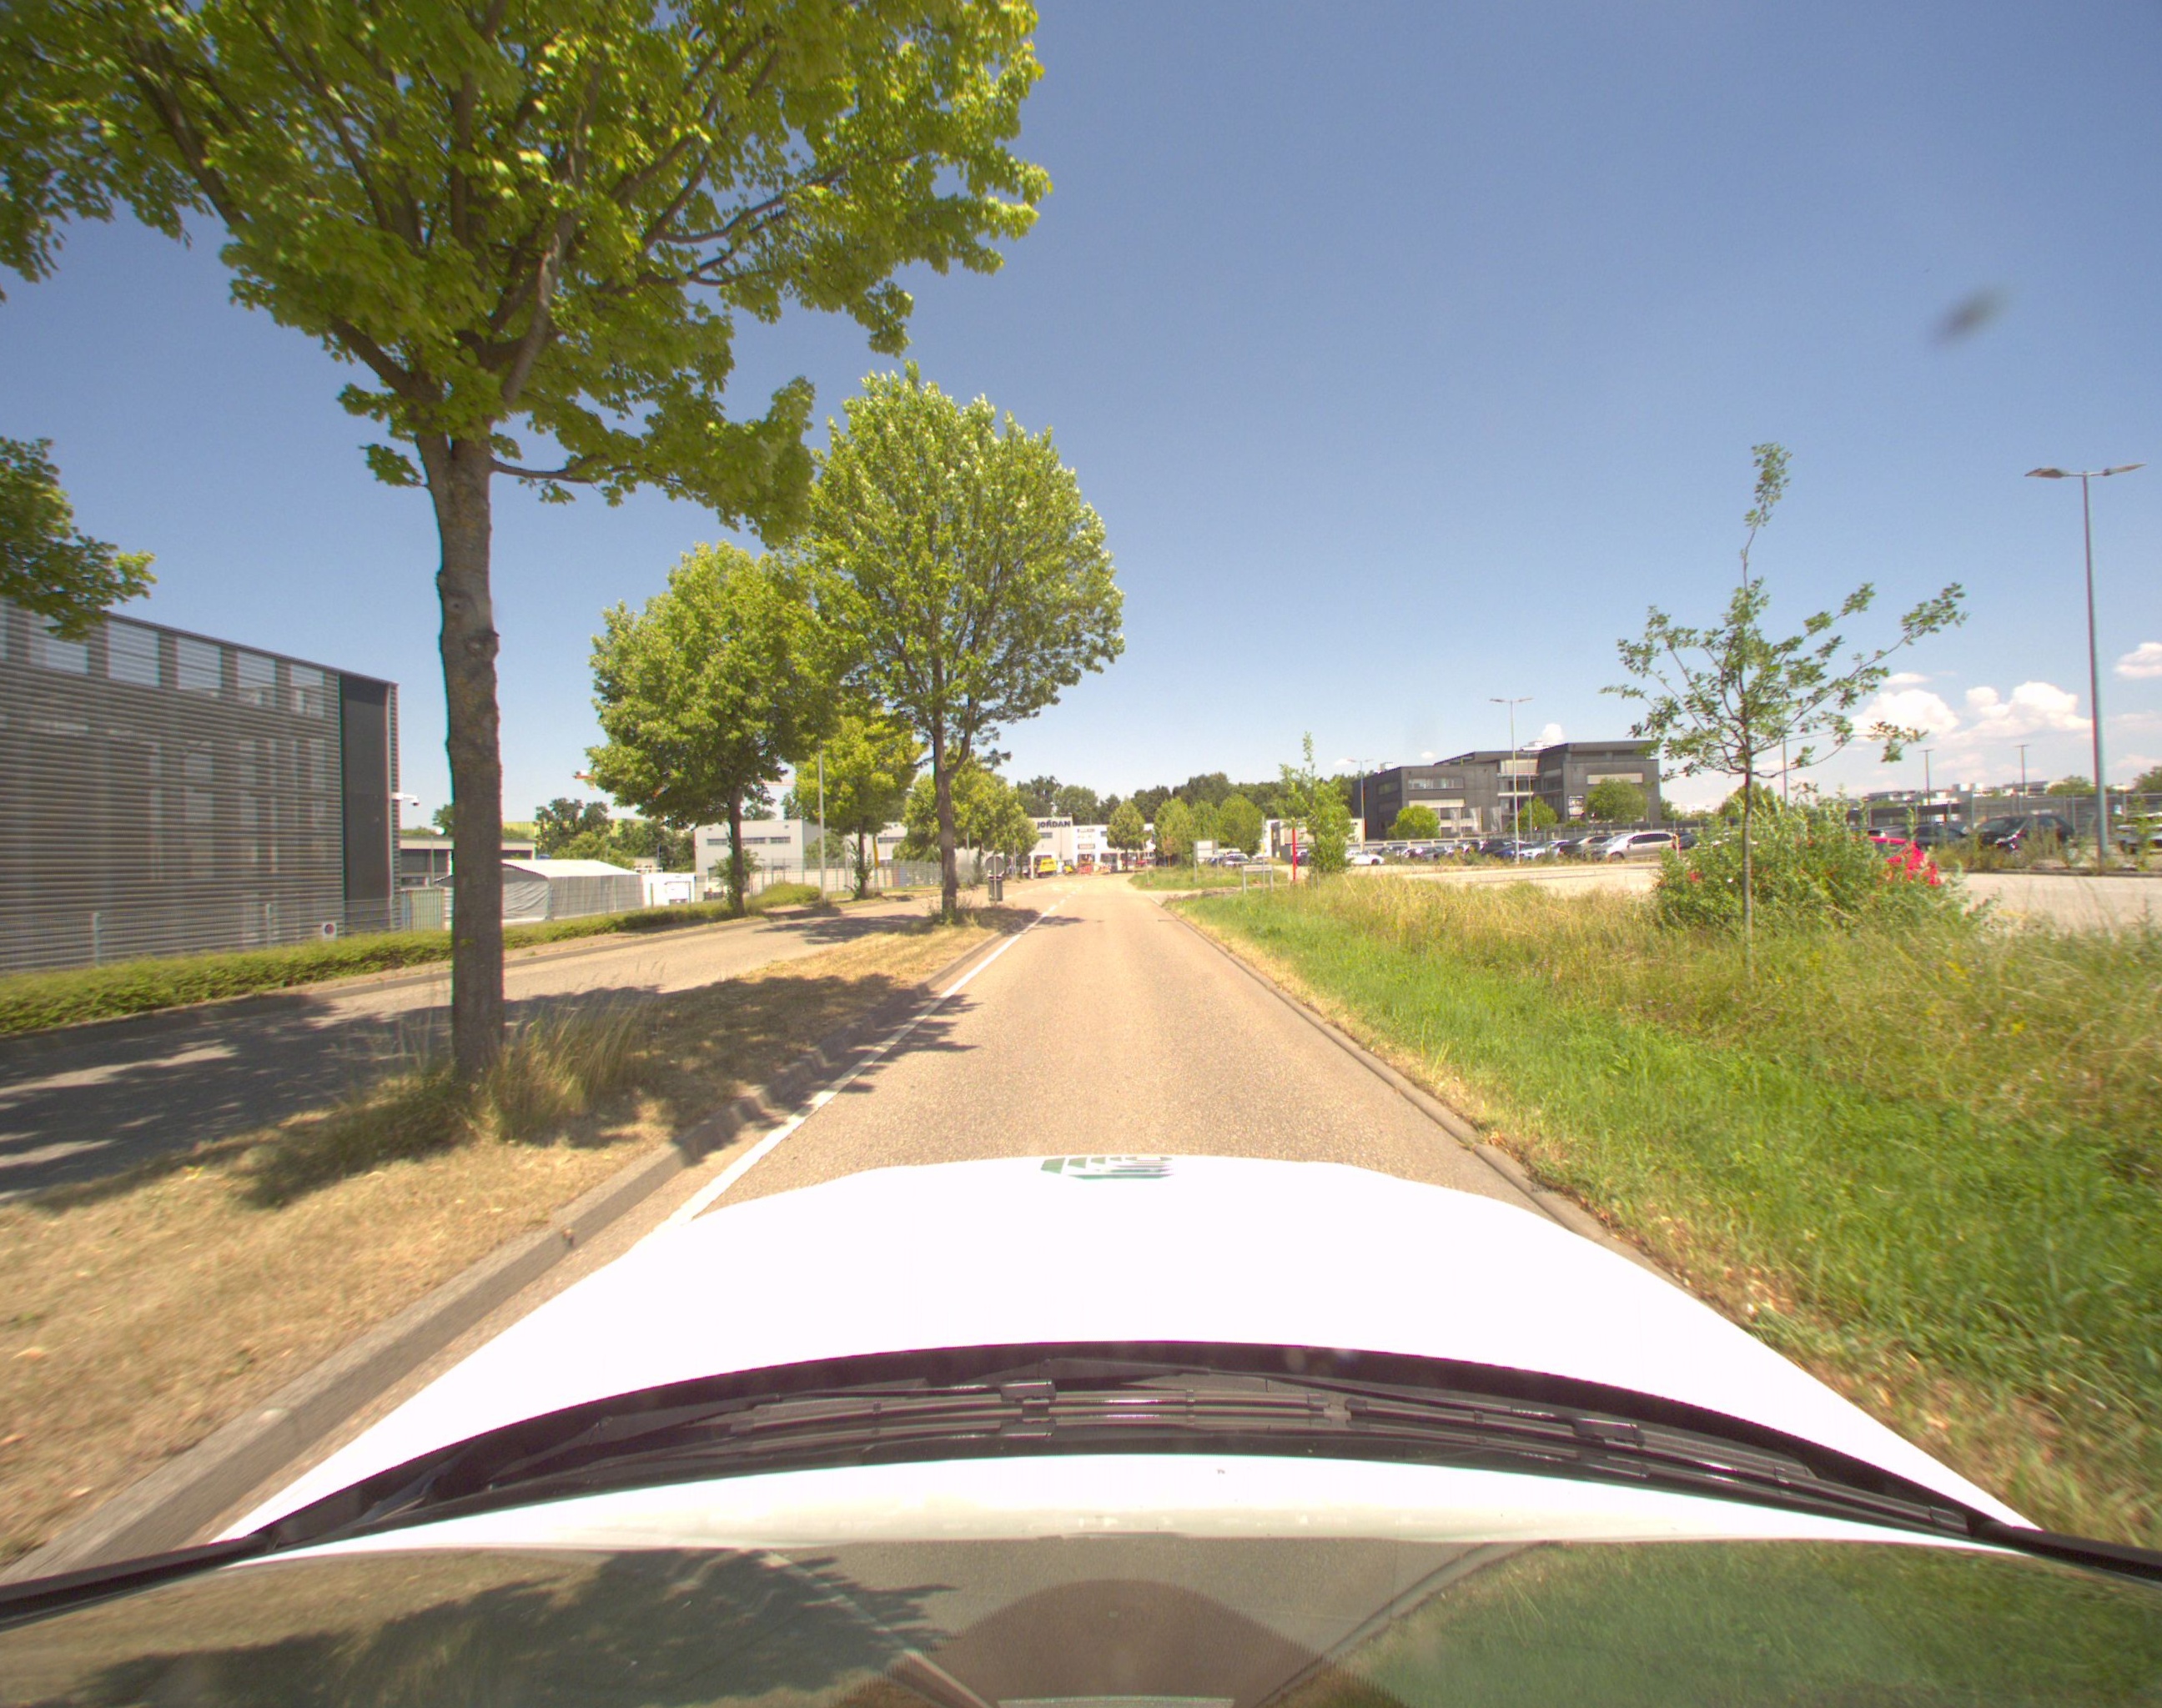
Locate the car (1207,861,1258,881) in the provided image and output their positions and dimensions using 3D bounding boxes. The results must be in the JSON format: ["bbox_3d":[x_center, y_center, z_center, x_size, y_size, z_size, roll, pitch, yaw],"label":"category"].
[{"bbox_3d":[13.563,1.536,73.145,4.152,1.400,1.768,-4,3,-2],"label":"car"}]

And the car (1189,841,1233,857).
[{"bbox_3d":[13.477,-0.510,84.474,4.152,1.400,1.768,-4,3,-2],"label":"car"}]

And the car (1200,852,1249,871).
[{"bbox_3d":[13.382,0.662,75.969,4.152,1.400,1.768,-4,3,-2],"label":"car"}]

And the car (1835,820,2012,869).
[{"bbox_3d":[28.649,-0.300,27.792,3.973,1.395,1.927,-3,-1,1],"label":"car"}]

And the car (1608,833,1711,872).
[{"bbox_3d":[28.984,-0.098,40.854,3.977,1.595,1.768,-4,3,-2],"label":"car"}]

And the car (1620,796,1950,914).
[{"bbox_3d":[12.031,0.026,14.154,3.973,1.724,1.927,-3,-1,1],"label":"car"}]

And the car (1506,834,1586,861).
[{"bbox_3d":[28.890,-0.412,50.643,3.977,1.392,1.768,-4,3,-2],"label":"car"}]

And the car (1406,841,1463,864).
[{"bbox_3d":[29.876,-0.164,68.882,3.977,1.595,1.768,-4,3,-2],"label":"car"}]

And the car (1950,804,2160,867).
[{"bbox_3d":[29.384,-0.526,24.677,3.973,1.641,1.927,-3,-1,1],"label":"car"}]

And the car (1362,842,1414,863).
[{"bbox_3d":[28.099,-0.165,74.606,3.977,1.595,1.768,-4,3,-2],"label":"car"}]

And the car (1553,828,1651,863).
[{"bbox_3d":[28.963,-0.490,45.315,4.355,1.595,1.768,-4,3,-2],"label":"car"}]

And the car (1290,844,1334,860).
[{"bbox_3d":[24.243,-0.228,85.560,3.977,1.400,1.768,-4,3,-2],"label":"car"}]

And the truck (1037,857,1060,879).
[{"bbox_3d":[-5.052,2.069,125.788,2.936,2.885,5.796,-4,3,-7],"label":"truck"}]

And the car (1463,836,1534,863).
[{"bbox_3d":[29.205,-0.344,57.047,3.977,1.595,1.860,-4,3,-2],"label":"car"}]

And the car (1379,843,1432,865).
[{"bbox_3d":[28.555,-0.025,71.769,3.977,1.595,1.768,-4,3,-2],"label":"car"}]

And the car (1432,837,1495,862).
[{"bbox_3d":[29.376,-0.345,62.555,3.977,1.595,1.768,-4,3,-2],"label":"car"}]

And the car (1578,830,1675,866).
[{"bbox_3d":[28.818,-0.338,43.061,3.977,1.595,1.768,-4,3,-2],"label":"car"}]

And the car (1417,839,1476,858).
[{"bbox_3d":[29.633,-0.440,66.158,3.977,1.271,1.768,-4,3,-2],"label":"car"}]

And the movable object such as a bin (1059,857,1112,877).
[{"bbox_3d":[0.695,1.939,125.843,7.481,2.499,3.677,-3,3,9],"label":"movable object such as a bin"}]

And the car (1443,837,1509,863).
[{"bbox_3d":[29.033,-0.308,59.965,3.977,1.595,1.768,-4,3,-2],"label":"car"}]

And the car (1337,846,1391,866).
[{"bbox_3d":[24.085,0.133,69.384,3.975,1.400,1.768,-3,3,-1],"label":"car"}]

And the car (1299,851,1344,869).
[{"bbox_3d":[24.389,0.602,82.551,3.977,1.400,1.768,-4,3,-2],"label":"car"}]

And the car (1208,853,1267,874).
[{"bbox_3d":[13.509,0.798,70.469,4.684,1.400,1.924,-3,3,3],"label":"car"}]

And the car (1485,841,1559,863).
[{"bbox_3d":[29.241,-0.146,54.046,3.977,1.108,1.768,-4,3,-2],"label":"car"}]
